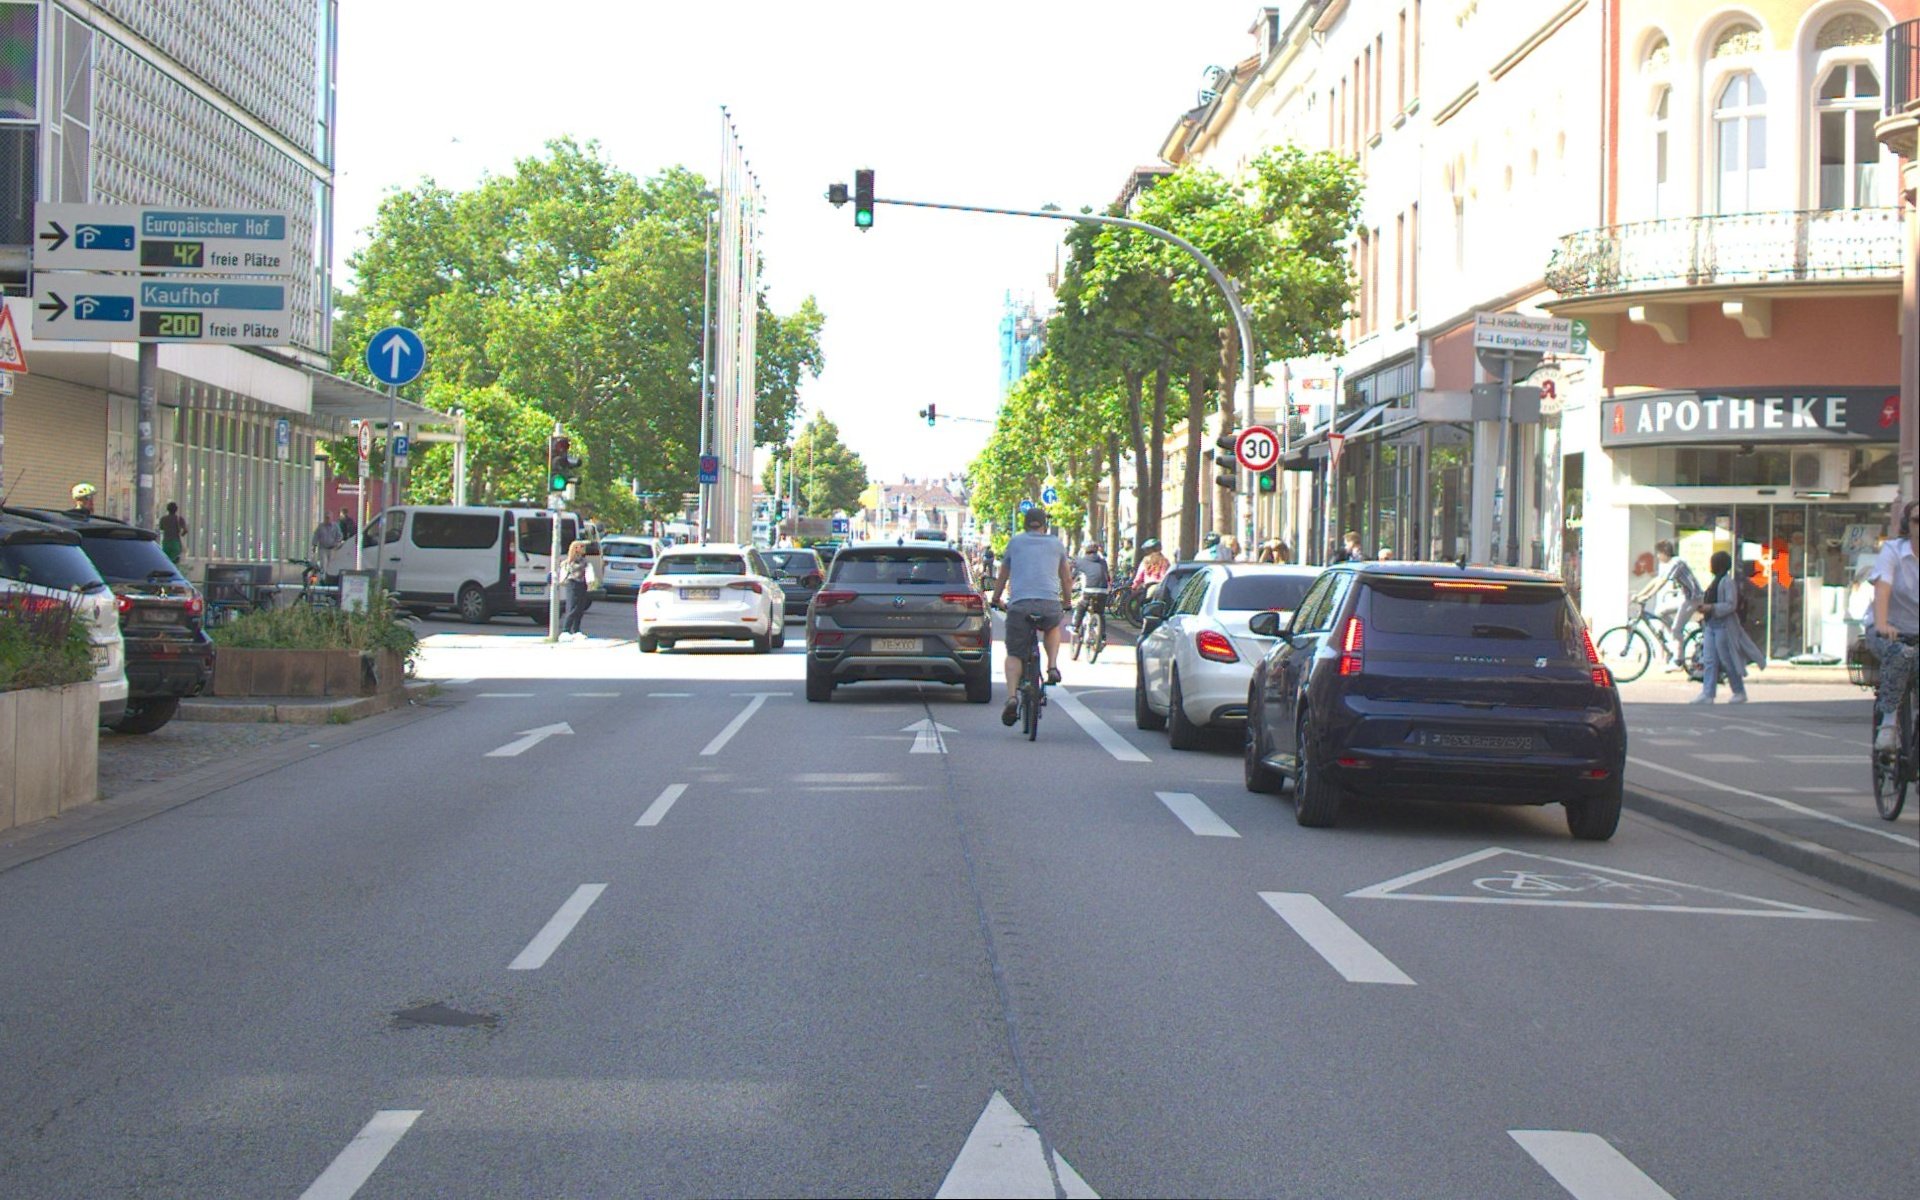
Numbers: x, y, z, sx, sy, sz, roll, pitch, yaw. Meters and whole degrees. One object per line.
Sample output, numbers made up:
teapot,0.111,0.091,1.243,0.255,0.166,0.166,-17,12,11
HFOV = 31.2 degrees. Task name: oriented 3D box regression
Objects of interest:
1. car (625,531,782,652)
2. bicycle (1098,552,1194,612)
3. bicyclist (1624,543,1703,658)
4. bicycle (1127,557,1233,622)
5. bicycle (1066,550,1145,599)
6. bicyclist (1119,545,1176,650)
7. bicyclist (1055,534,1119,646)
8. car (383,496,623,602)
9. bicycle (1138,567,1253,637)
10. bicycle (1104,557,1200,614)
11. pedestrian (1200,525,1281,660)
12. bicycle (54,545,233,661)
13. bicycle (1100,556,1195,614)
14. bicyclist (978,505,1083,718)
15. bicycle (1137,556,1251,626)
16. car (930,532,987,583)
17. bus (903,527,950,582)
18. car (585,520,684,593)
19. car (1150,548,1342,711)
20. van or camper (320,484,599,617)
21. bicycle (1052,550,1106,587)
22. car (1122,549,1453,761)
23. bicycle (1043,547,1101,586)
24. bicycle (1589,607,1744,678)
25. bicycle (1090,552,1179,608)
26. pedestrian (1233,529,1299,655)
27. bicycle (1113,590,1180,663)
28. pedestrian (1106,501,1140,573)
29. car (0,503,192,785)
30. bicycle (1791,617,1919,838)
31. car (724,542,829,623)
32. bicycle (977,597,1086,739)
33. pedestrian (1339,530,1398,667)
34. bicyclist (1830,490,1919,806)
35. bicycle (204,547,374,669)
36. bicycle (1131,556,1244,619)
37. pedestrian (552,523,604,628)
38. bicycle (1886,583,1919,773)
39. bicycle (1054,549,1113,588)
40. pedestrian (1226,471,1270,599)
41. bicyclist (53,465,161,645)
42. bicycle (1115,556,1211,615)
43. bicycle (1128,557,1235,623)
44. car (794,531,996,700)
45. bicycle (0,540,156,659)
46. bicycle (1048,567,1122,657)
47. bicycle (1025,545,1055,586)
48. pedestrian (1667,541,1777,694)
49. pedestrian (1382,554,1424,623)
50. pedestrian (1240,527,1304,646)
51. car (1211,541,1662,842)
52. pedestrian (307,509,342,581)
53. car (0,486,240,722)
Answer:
car,-3.442,-0.150,46.801,1.845,1.554,4.000,1,1,0
bicycle,3.877,-0.374,71.782,1.839,1.123,0.632,3,0,-11
bicyclist,8.767,0.004,42.871,0.859,1.406,0.501,1,1,0
bicycle,3.930,-0.185,61.489,1.840,1.123,0.530,1,0,2
bicycle,3.607,-0.622,85.327,1.841,1.123,0.497,3,1,11
bicyclist,2.467,-0.034,45.278,0.600,1.353,0.721,2,0,-4
bicyclist,1.665,-0.137,45.207,0.698,1.436,0.791,3,1,-4
car,-8.903,-0.997,66.811,4.441,1.903,2.005,3,2,36
bicycle,3.892,0.030,56.811,1.840,1.123,0.666,1,0,7
bicycle,3.980,-0.302,71.284,1.839,1.089,0.565,3,0,-11
pedestrian,3.783,-0.094,46.433,0.639,1.703,0.790,-11,-1,-5
bicycle,-8.495,0.024,35.722,2.062,1.165,0.604,1,0,36
bicycle,3.792,-0.299,69.569,1.840,1.089,0.564,3,0,0
bicyclist,0.545,0.080,26.868,0.774,1.629,0.851,1,1,0
bicycle,3.898,-0.151,57.371,1.840,1.123,0.666,1,0,2
car,-0.077,-1.503,121.130,1.845,1.662,4.000,3,1,-1
bus,-2.359,-3.081,235.388,2.994,3.582,11.745,2,0,-1
car,-7.383,-1.015,78.320,1.799,1.518,4.739,2,1,-1
car,2.885,0.285,34.125,1.629,1.473,3.730,2,0,8
van or camper,-8.557,-0.863,58.568,4.656,2.006,1.995,4,2,39
bicycle,3.734,-0.994,108.141,1.649,1.091,0.607,2,1,2
car,2.504,0.362,27.492,1.952,1.420,4.887,3,1,-2
bicycle,3.626,-1.094,111.388,1.844,1.197,0.608,2,1,2
bicycle,8.804,0.532,42.867,1.821,0.841,0.501,1,1,0
bicycle,3.869,-0.442,76.237,1.839,1.123,0.497,3,2,-8
pedestrian,4.462,-0.124,50.185,0.787,1.789,0.641,3,1,-3
bicycle,2.449,0.341,45.282,0.600,0.922,2.088,2,0,-4
pedestrian,3.943,-1.522,83.206,0.639,1.683,0.843,4,1,-3
car,-7.336,0.106,21.969,4.159,1.631,2.102,5,1,8
bicycle,5.332,0.674,19.291,0.741,1.123,2.573,0,0,1
car,-3.408,-0.352,64.485,1.845,1.444,4.000,1,1,-1
bicycle,0.540,0.509,26.893,0.774,1.002,2.329,1,1,0
pedestrian,5.610,-0.023,47.223,0.639,1.836,0.614,4,0,12
bicyclist,5.315,0.256,18.985,0.745,1.697,1.036,0,0,0
bicycle,-6.891,0.071,35.265,2.063,1.169,0.604,3,0,44
bicycle,4.235,-0.232,63.912,1.987,1.123,0.761,1,0,12
pedestrian,-5.792,-0.374,52.096,0.639,1.554,0.681,3,1,-12
bicycle,6.926,0.570,23.158,0.732,1.264,2.282,2,2,1
bicycle,3.690,-0.951,102.522,1.728,1.105,0.402,2,1,2
pedestrian,4.088,-0.924,48.839,0.452,1.789,0.608,3,1,-3
bicyclist,-9.484,-0.498,38.251,0.842,1.953,1.017,1,1,5
bicycle,3.959,-0.290,67.185,1.843,1.123,0.447,1,0,28
bicycle,3.918,-0.178,60.796,1.840,1.123,0.666,1,0,2
car,-0.693,0.105,33.805,1.845,1.554,4.001,1,1,-3
bicycle,-9.128,-0.017,34.575,2.060,1.123,0.646,2,1,26
bicycle,1.639,0.146,45.345,0.698,1.123,2.082,3,1,-4
bicycle,1.991,-0.860,86.078,0.647,0.994,2.031,1,1,-1
pedestrian,8.156,0.198,36.817,0.900,1.606,0.976,-1,-2,-2
pedestrian,8.154,-0.215,63.230,0.681,1.249,0.532,0,1,-3
pedestrian,4.488,-0.196,49.503,0.787,1.685,0.641,2,1,-3
car,2.692,0.480,20.443,1.886,1.486,4.291,4,0,-2
pedestrian,-13.822,-1.206,74.823,0.678,1.554,0.641,1,1,-5
car,-7.619,-0.058,25.374,4.026,1.597,1.956,4,0,22
